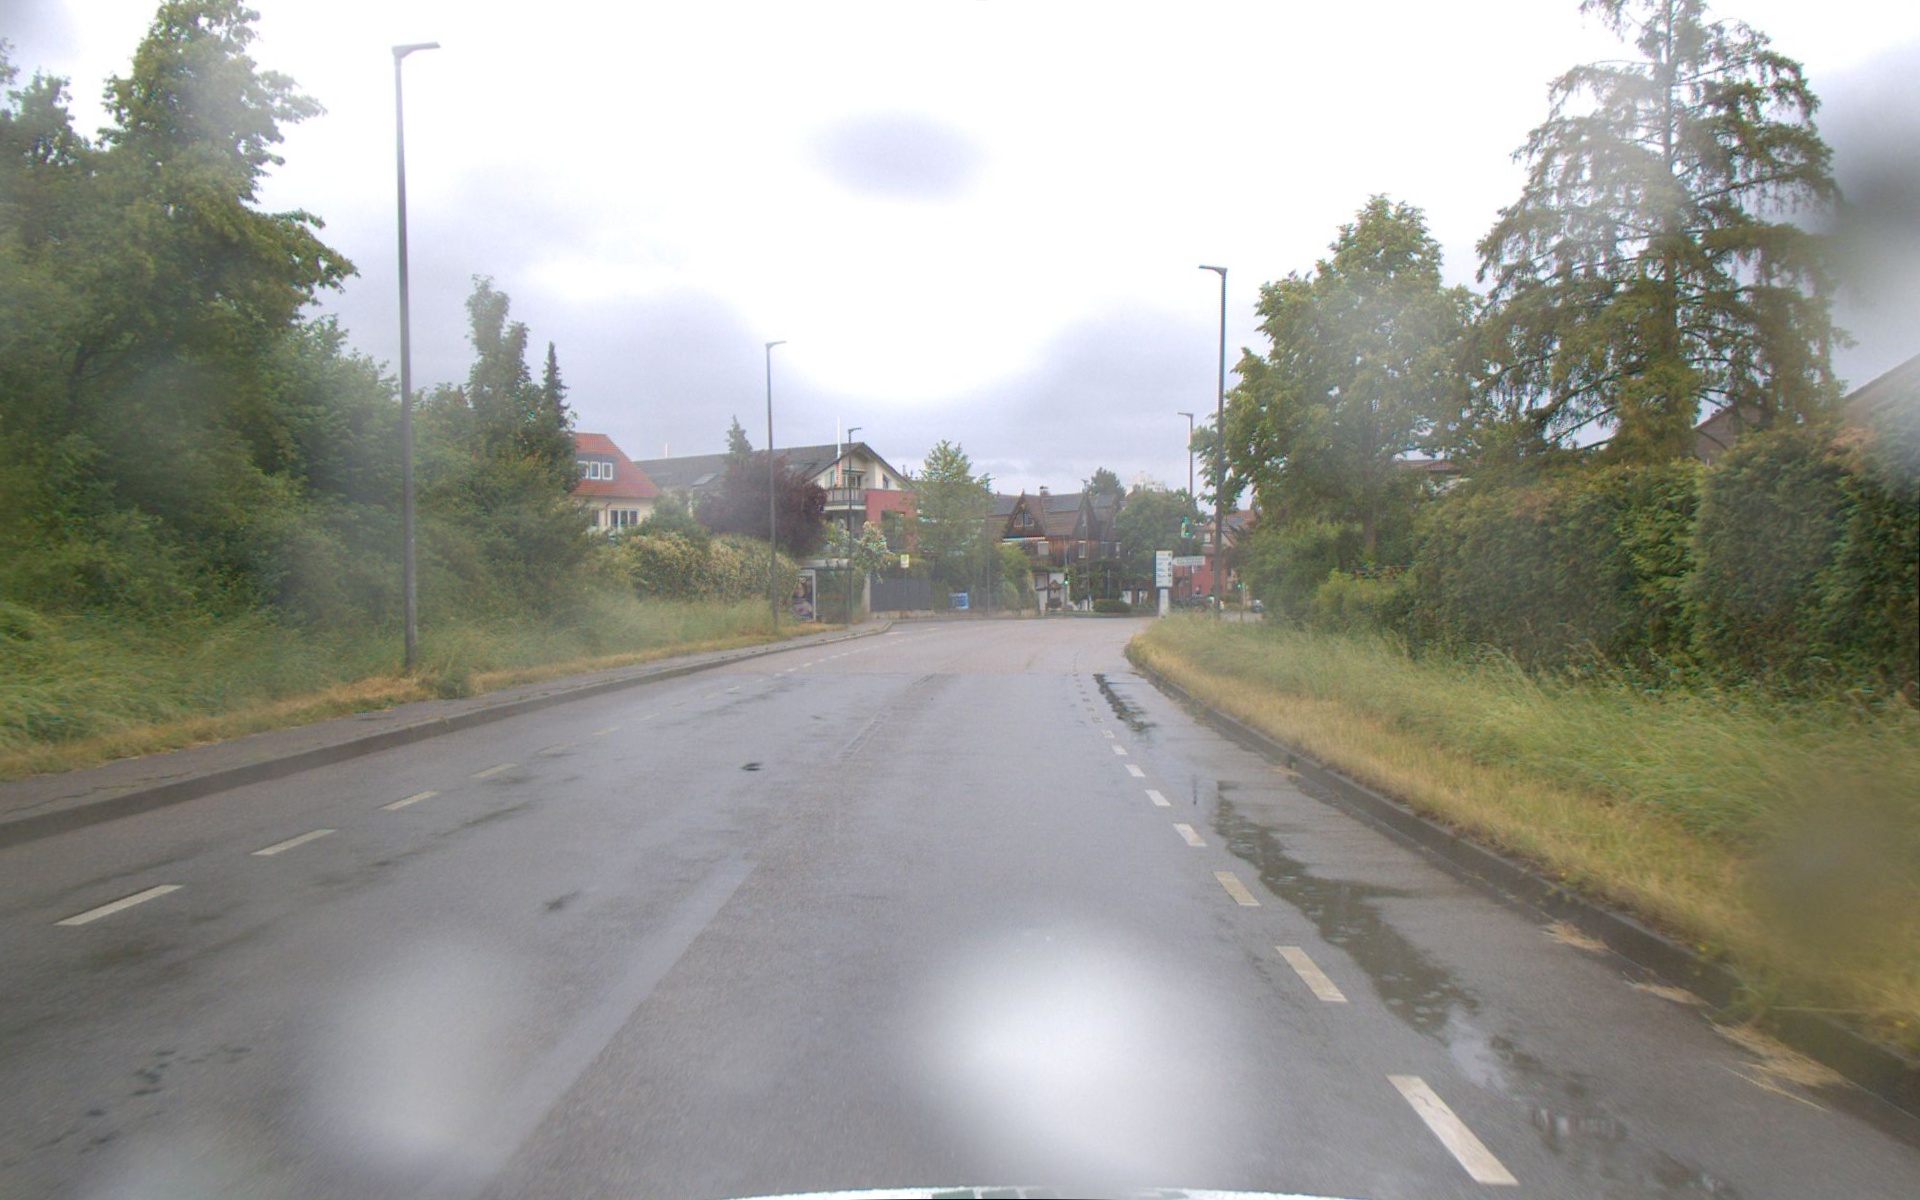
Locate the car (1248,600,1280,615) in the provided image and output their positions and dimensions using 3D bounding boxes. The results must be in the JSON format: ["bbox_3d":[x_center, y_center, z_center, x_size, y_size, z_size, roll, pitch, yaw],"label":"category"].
[{"bbox_3d":[28.914,0.680,157.260,1.597,1.379,4.101,2,1,31],"label":"car"}]

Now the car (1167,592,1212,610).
[{"bbox_3d":[20.788,0.090,149.877,3.517,1.532,1.848,3,1,37],"label":"car"}]
